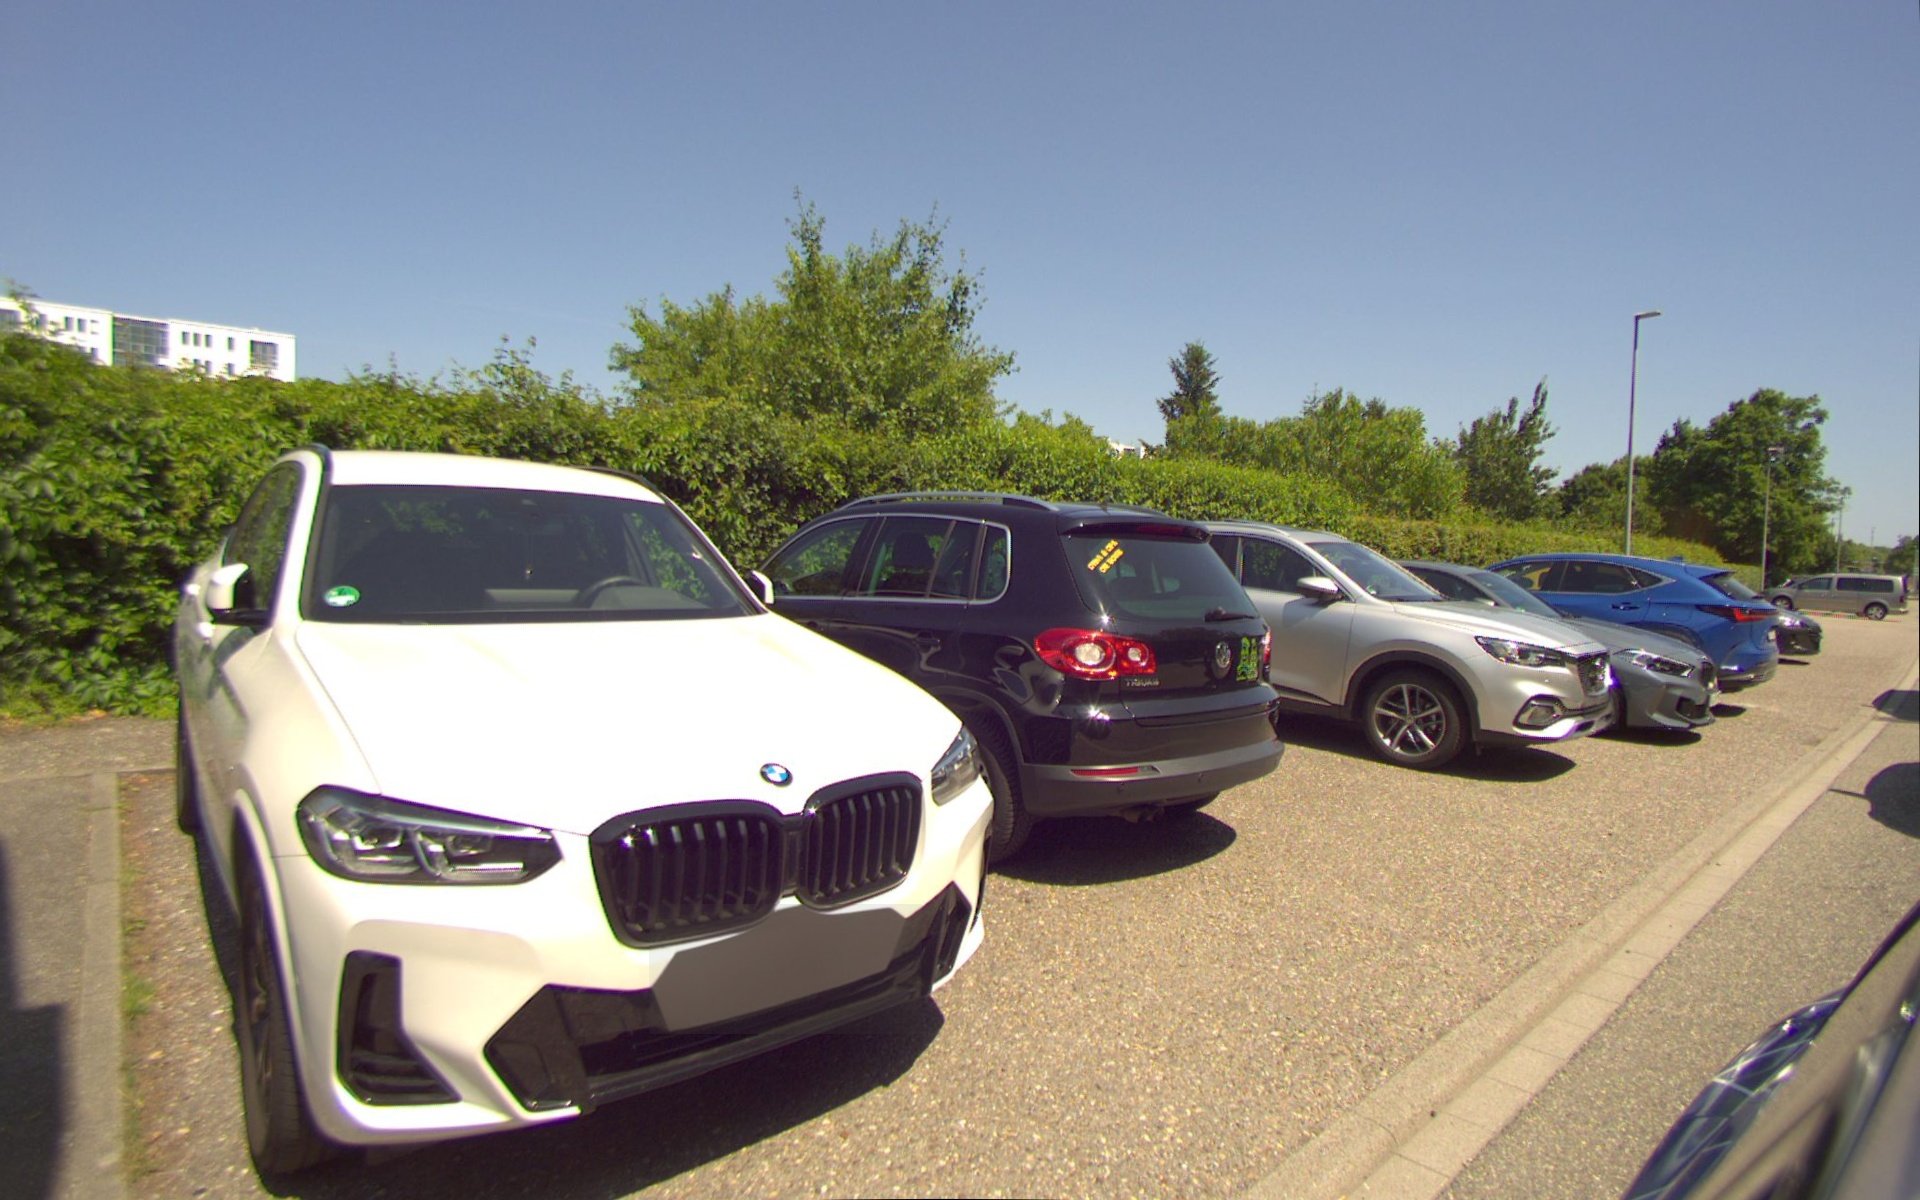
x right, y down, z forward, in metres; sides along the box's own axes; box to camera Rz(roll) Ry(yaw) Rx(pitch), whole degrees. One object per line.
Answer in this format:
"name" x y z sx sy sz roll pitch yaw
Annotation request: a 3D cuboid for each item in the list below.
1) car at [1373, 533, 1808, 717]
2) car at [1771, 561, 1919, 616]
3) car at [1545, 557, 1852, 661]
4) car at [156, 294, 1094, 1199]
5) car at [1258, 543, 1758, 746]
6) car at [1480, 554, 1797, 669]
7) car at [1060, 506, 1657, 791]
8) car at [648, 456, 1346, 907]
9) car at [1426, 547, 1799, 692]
"car" 7.308 0.138 12.075 1.645 1.661 4.035 -1 6 -42
"car" 36.724 -0.544 42.038 4.484 1.872 1.669 7 6 44
"car" 13.411 0.067 18.600 1.621 1.434 4.250 -1 6 -42
"car" -1.793 0.213 3.871 1.819 1.750 4.464 -2 5 -41
"car" 5.266 0.261 10.156 1.652 1.425 4.034 -1 6 -43
"car" 11.142 0.086 16.846 1.621 1.463 4.035 -1 6 -42
"car" 3.013 0.149 8.352 1.747 1.661 4.165 -1 6 -44
"car" -0.108 0.155 5.876 1.736 1.706 3.981 -1 5 -42
"car" 8.946 0.143 14.159 1.621 1.532 4.035 -1 6 -42
